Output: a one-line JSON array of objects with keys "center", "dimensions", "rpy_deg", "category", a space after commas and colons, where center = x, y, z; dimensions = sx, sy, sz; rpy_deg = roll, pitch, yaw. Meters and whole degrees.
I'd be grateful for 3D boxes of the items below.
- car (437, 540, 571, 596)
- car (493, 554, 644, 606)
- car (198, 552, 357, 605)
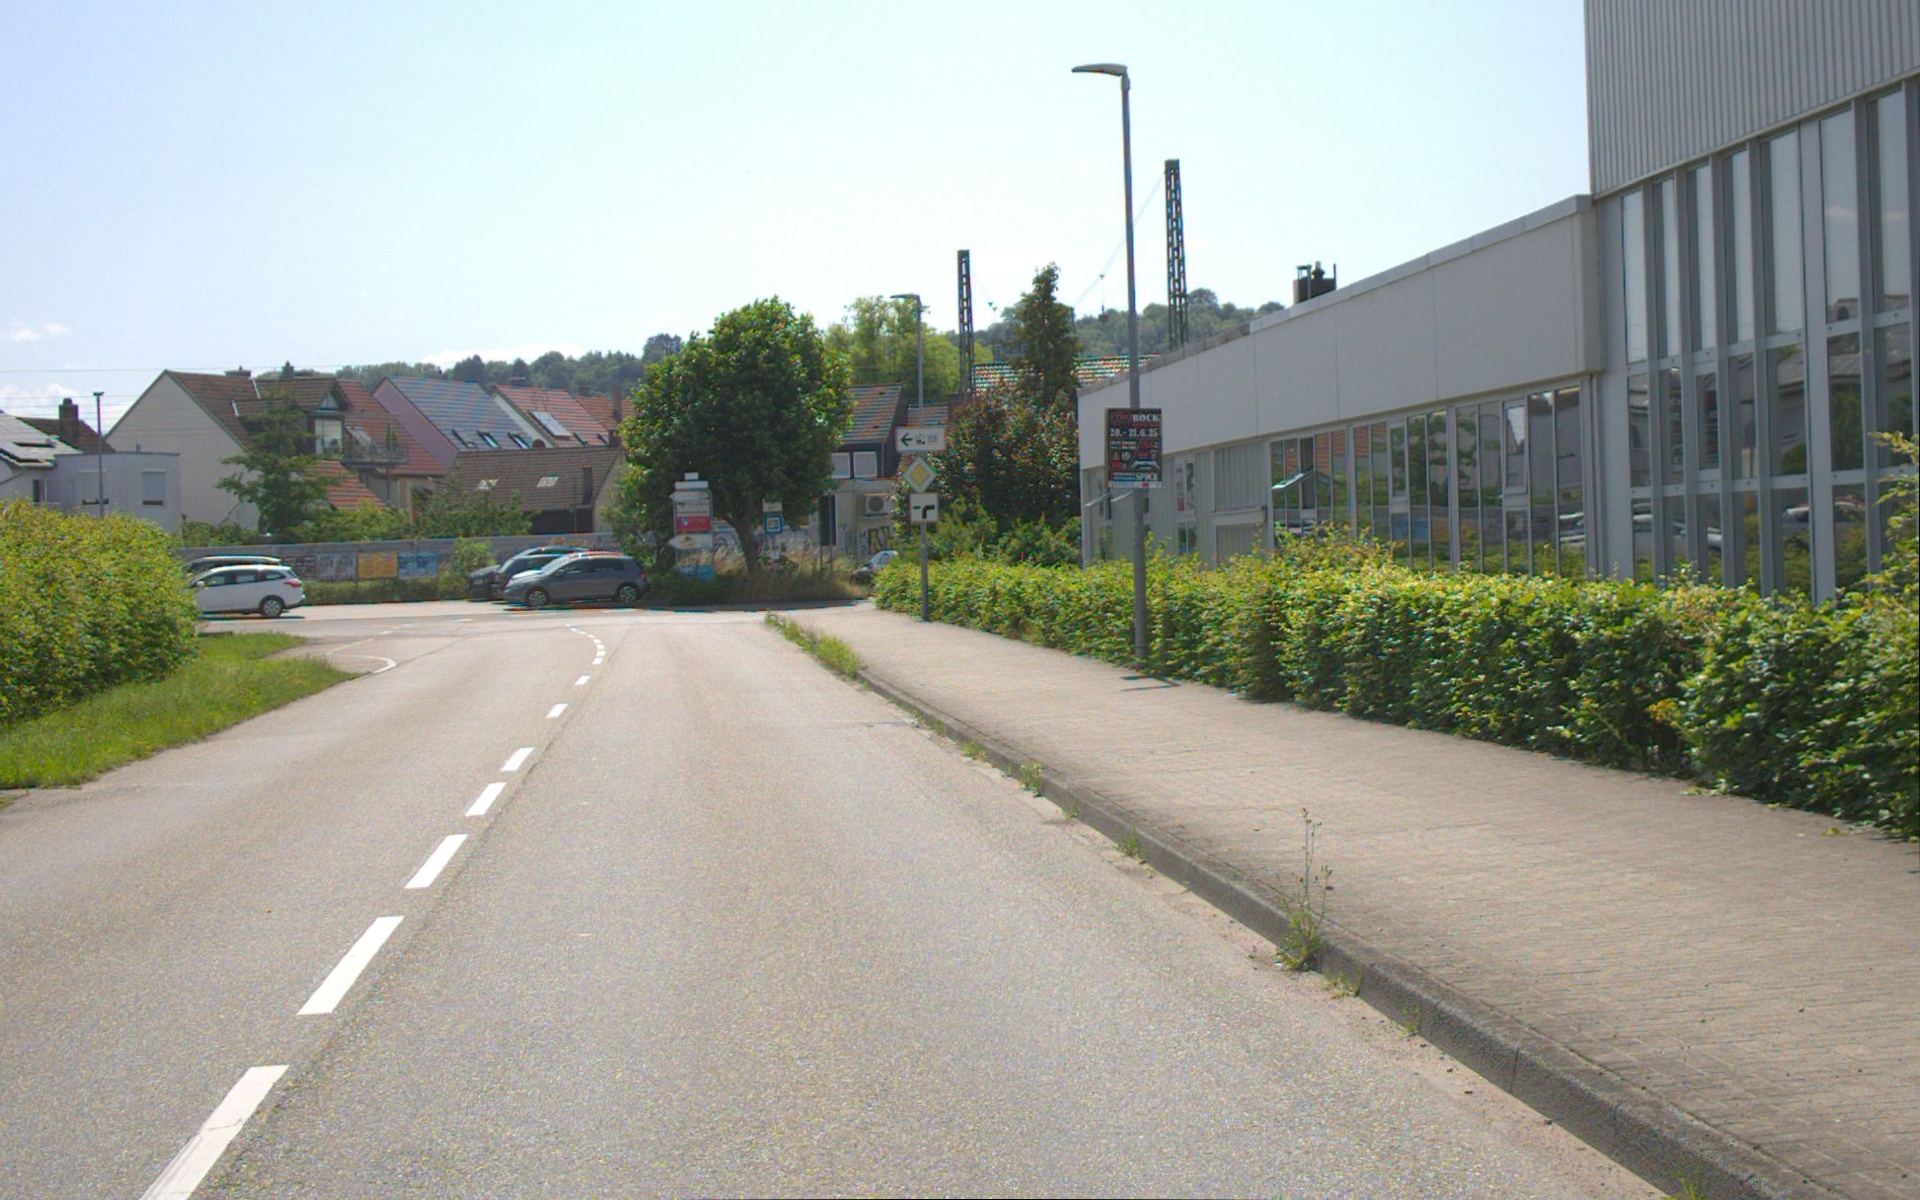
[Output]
[{"center": [-14.282, -0.987, 107.596], "dimensions": [3.986, 1.724, 1.771], "rpy_deg": [0, 0, -14], "category": "car"}, {"center": [-11.416, -0.582, 100.201], "dimensions": [4.186, 1.458, 1.665], "rpy_deg": [-1, 0, -13], "category": "car"}, {"center": [-19.438, -0.614, 97.940], "dimensions": [4.281, 1.472, 1.828], "rpy_deg": [0, 0, -17], "category": "car"}]
